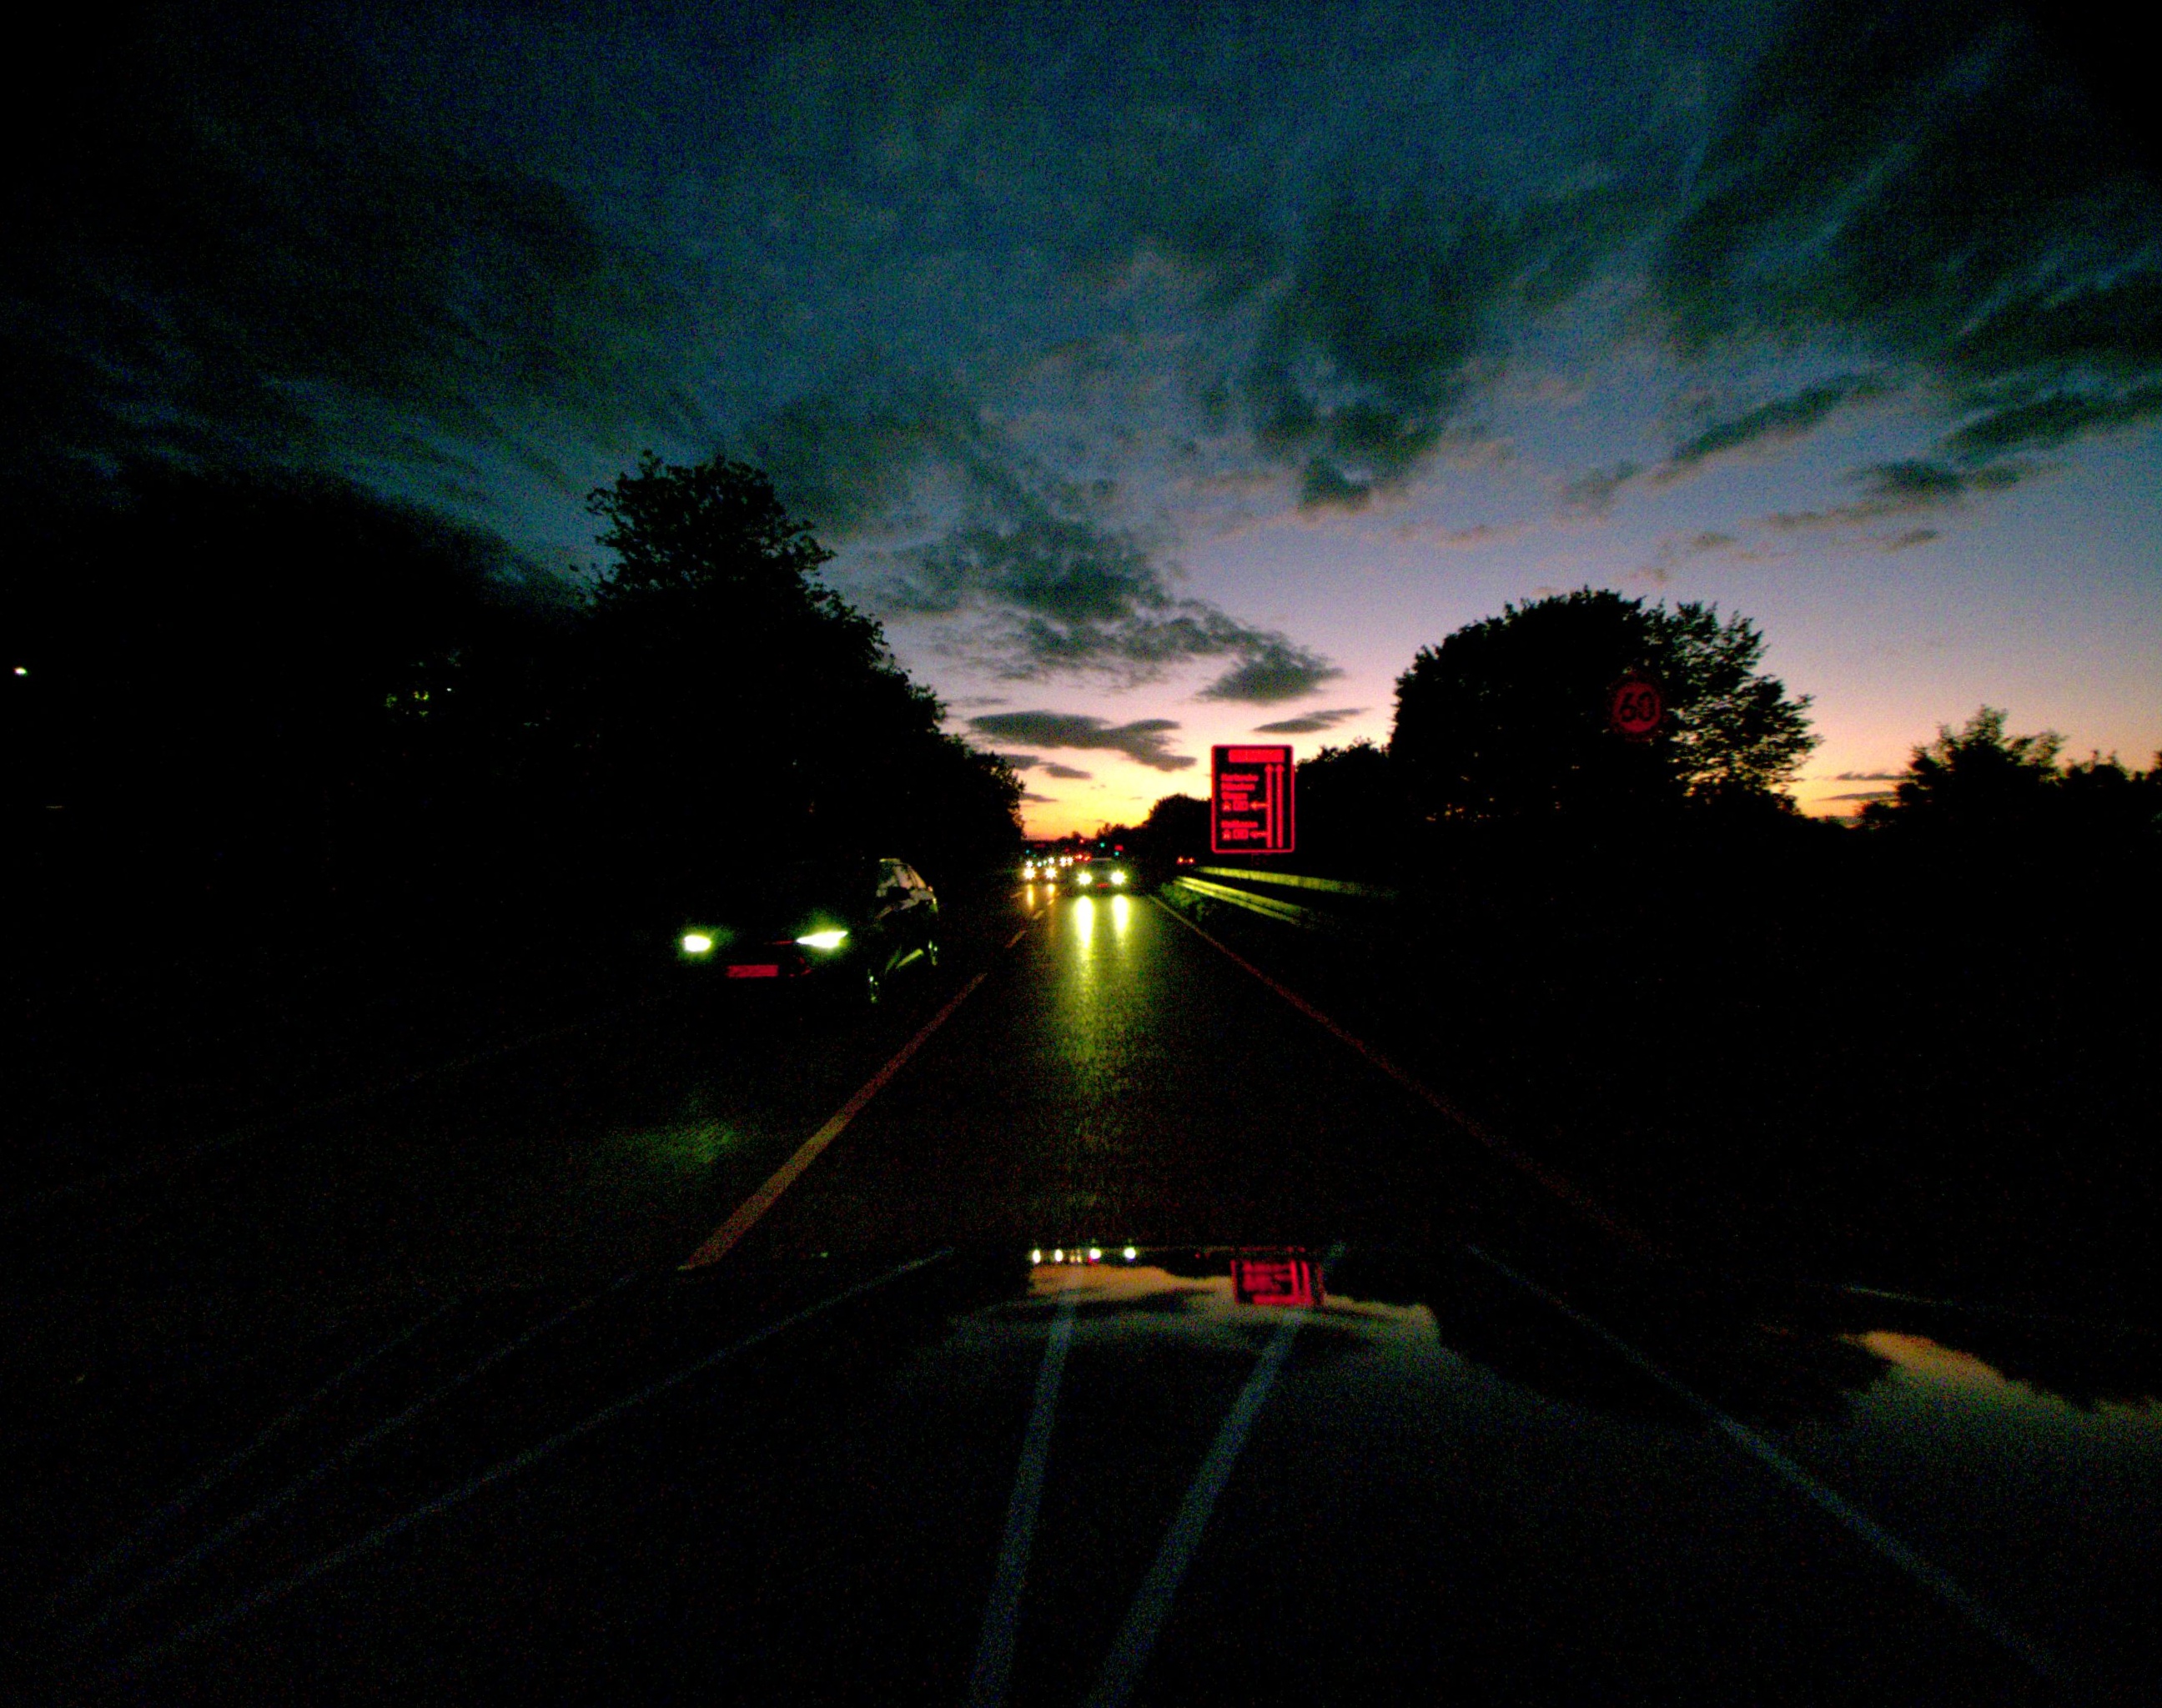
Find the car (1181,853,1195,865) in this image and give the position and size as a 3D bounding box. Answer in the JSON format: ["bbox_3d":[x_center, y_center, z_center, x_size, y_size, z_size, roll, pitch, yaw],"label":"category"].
[{"bbox_3d":[14.993,0.689,106.400,1.798,1.661,4.504,-1,0,7],"label":"car"}]

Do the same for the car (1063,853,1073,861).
[{"bbox_3d":[-2.745,0.582,160.582,1.999,1.602,4.501,-1,0,-1],"label":"car"}]

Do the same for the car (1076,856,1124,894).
[{"bbox_3d":[0.765,0.881,33.310,1.901,1.472,4.514,-2,0,0],"label":"car"}]

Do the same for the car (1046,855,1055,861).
[{"bbox_3d":[-7.152,0.872,179.355,1.999,1.423,4.501,0,0,-1],"label":"car"}]

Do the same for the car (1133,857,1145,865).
[{"bbox_3d":[11.331,1.330,149.110,1.926,1.423,4.501,0,0,-1],"label":"car"}]

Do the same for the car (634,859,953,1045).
[{"bbox_3d":[-3.023,0.916,9.292,1.998,1.600,4.711,-2,0,1],"label":"car"}]

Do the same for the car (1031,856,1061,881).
[{"bbox_3d":[-2.232,0.917,48.947,1.624,1.460,3.871,-2,0,1],"label":"car"}]
